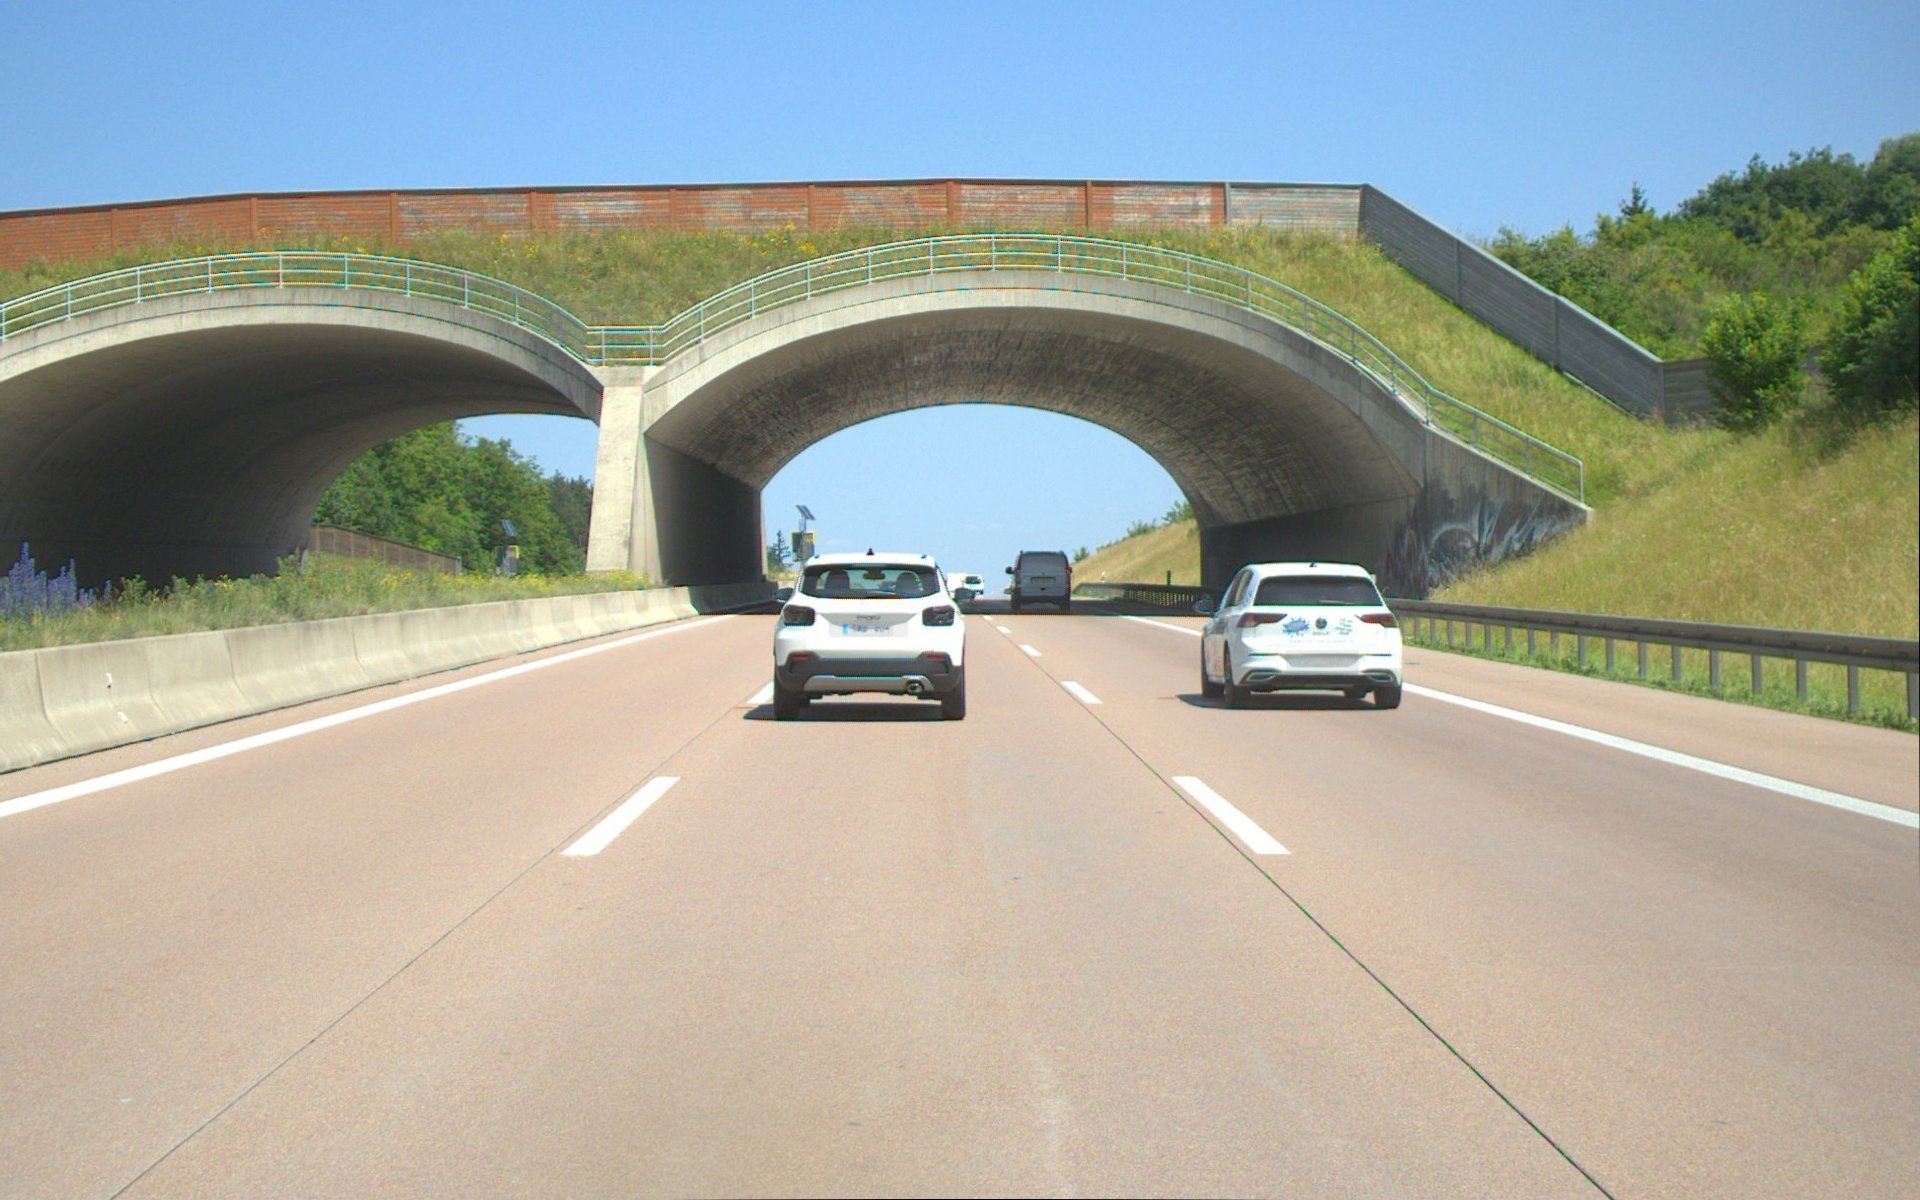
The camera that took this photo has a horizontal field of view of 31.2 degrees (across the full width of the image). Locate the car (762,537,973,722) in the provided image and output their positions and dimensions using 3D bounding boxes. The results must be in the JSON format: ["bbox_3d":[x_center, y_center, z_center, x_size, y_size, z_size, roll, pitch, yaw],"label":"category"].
[{"bbox_3d":[-0.854,0.217,33.030,1.879,1.602,4.834,0,1,-1],"label":"car"}]

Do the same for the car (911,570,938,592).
[{"bbox_3d":[-2.606,-1.397,253.021,1.891,1.458,4.000,1,1,0],"label":"car"}]

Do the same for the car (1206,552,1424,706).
[{"bbox_3d":[3.590,0.257,35.393,1.891,1.393,4.000,1,2,1],"label":"car"}]

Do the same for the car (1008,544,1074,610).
[{"bbox_3d":[2.677,-0.786,113.335,2.110,2.046,4.000,0,2,1],"label":"car"}]
